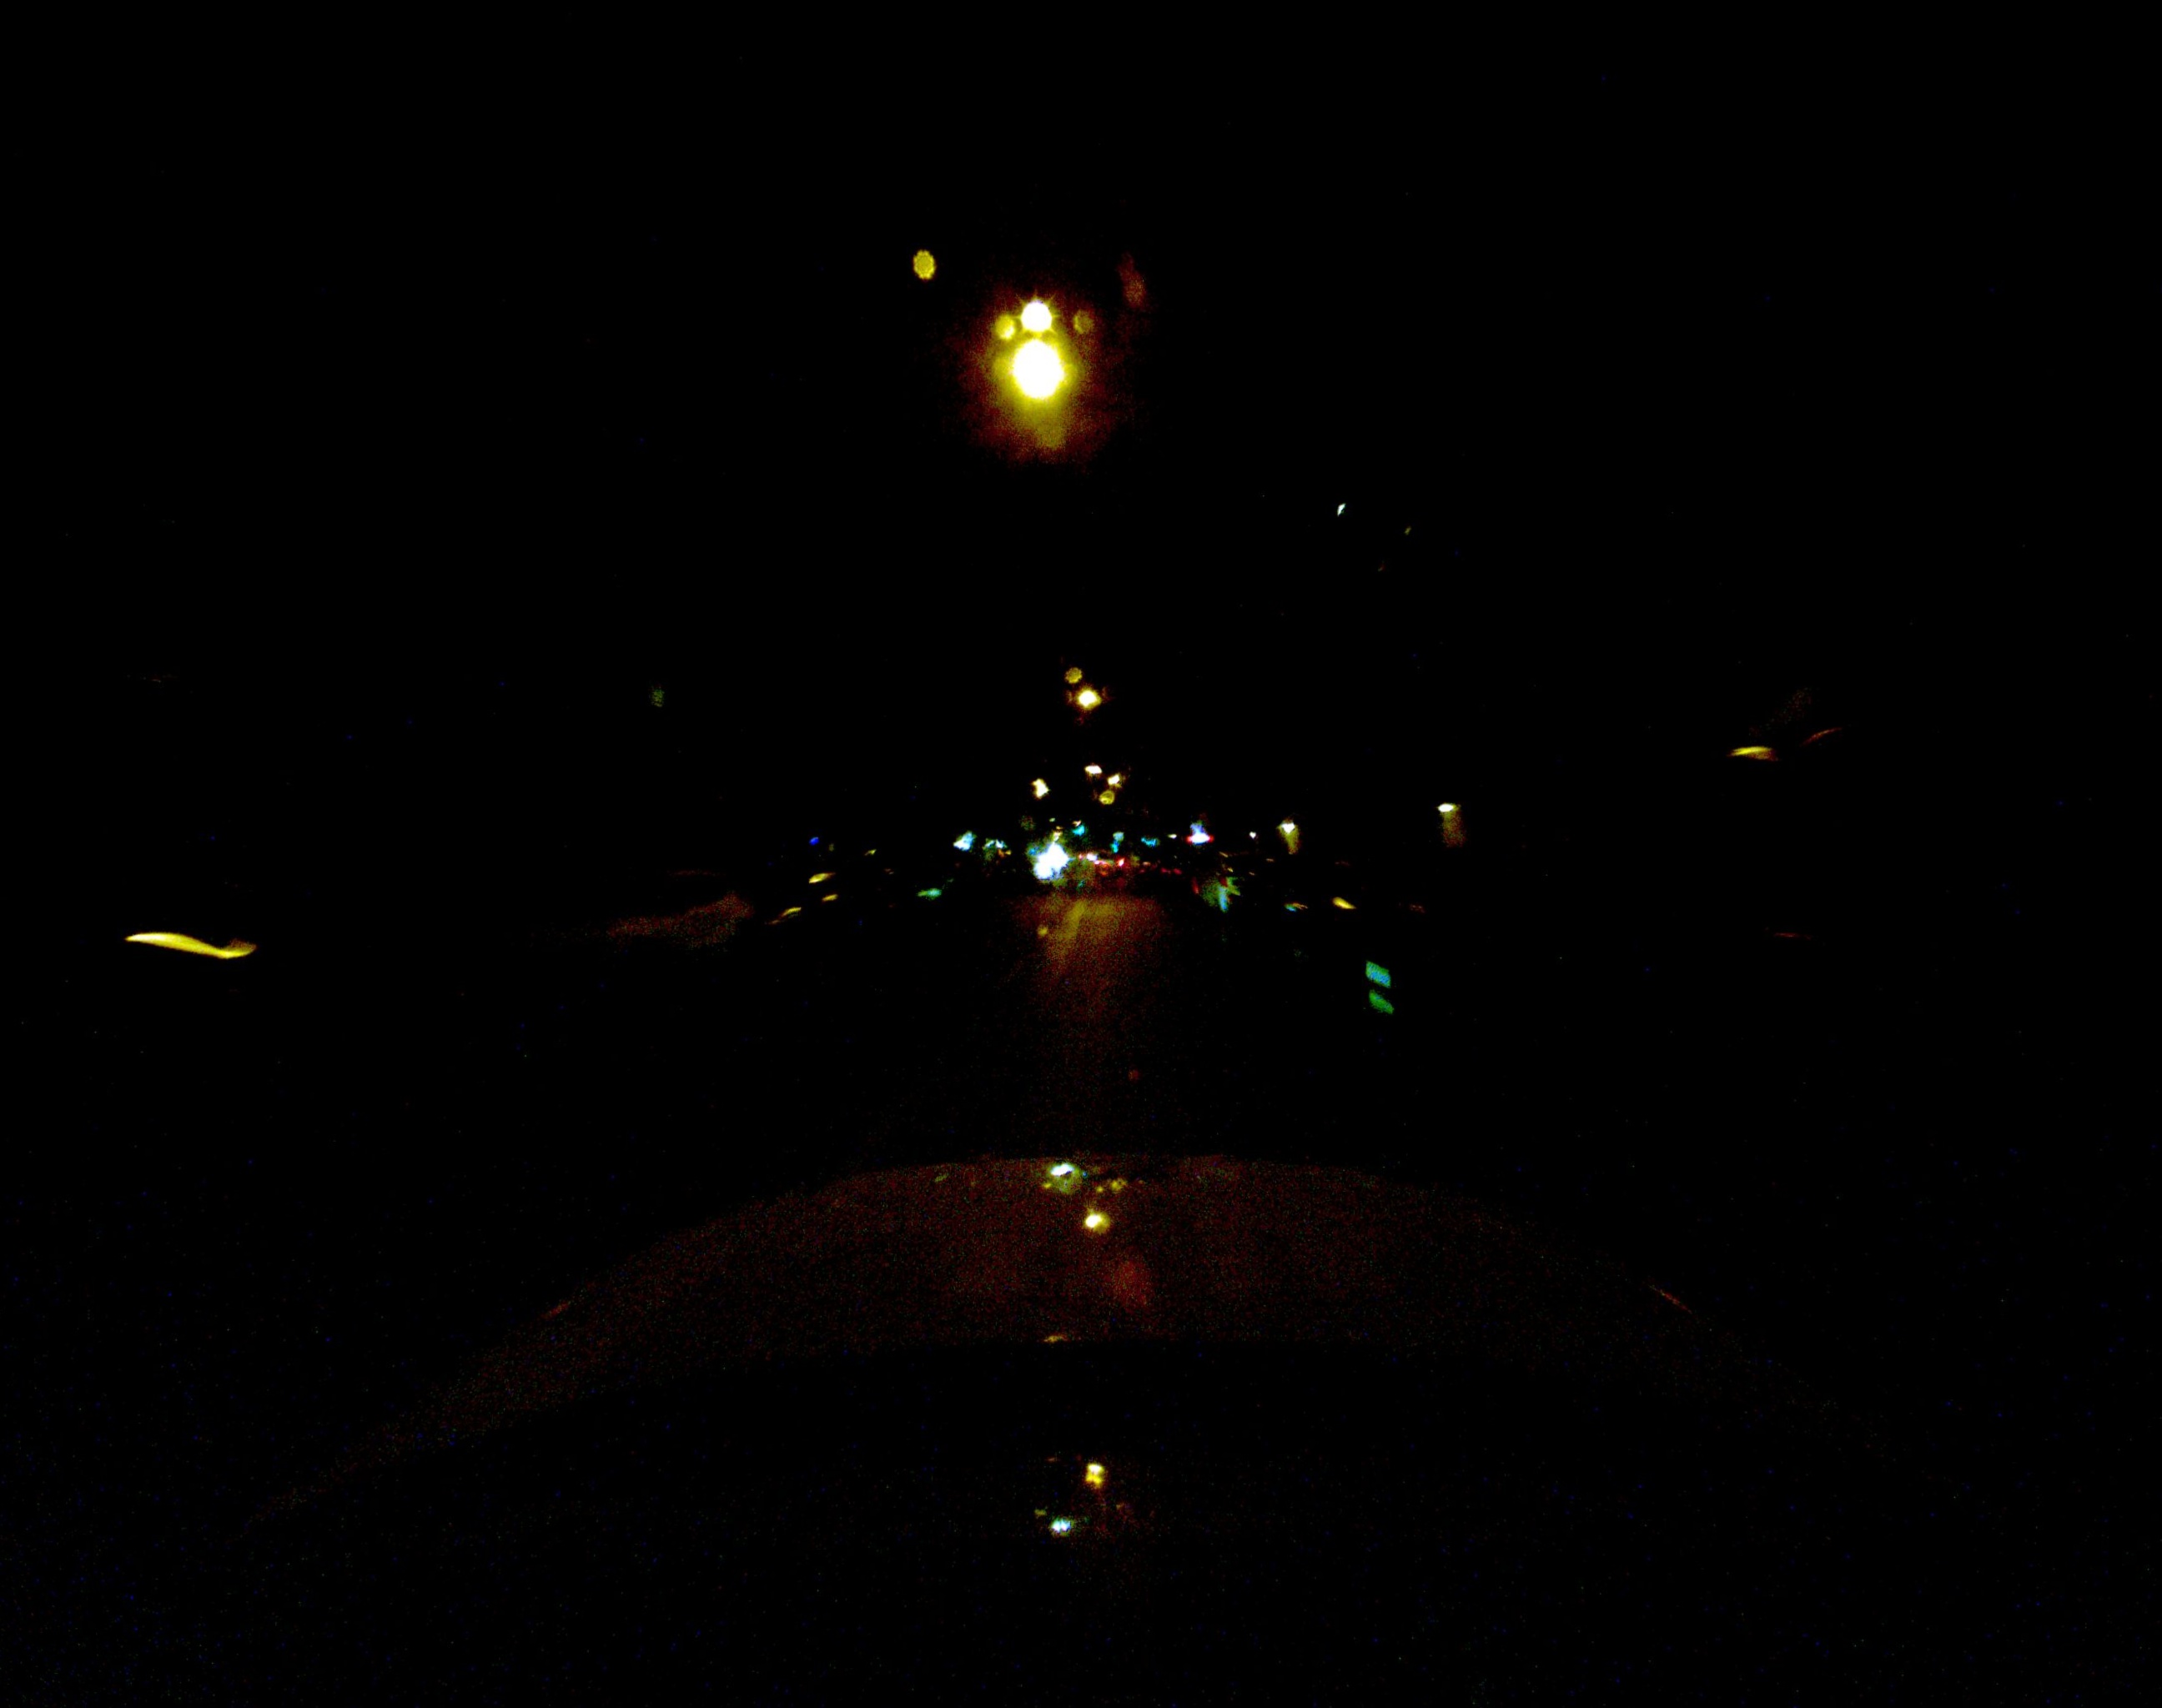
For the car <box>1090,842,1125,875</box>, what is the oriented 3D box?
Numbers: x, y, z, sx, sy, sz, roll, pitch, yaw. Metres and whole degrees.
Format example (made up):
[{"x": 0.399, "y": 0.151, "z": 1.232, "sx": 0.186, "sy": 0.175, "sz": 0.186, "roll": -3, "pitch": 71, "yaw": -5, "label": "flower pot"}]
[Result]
[{"x": 1.814, "y": 0.285, "z": 55.662, "sx": 2.160, "sy": 1.972, "sz": 4.303, "roll": -4, "pitch": 0, "yaw": 1, "label": "car"}]

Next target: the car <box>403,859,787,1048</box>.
[{"x": -5.358, "y": 0.945, "z": 9.827, "sx": 1.659, "sy": 1.539, "sz": 4.394, "roll": -6, "pitch": 0, "yaw": 3, "label": "car"}]

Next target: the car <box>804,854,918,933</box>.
[{"x": -5.395, "y": 0.894, "z": 20.581, "sx": 1.743, "sy": 1.597, "sz": 4.386, "roll": -6, "pitch": 0, "yaw": -3, "label": "car"}]

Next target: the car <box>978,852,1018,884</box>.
[{"x": -4.442, "y": 0.717, "z": 43.900, "sx": 1.593, "sy": 1.431, "sz": 4.004, "roll": -6, "pitch": 0, "yaw": 0, "label": "car"}]

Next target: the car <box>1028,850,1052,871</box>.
[{"x": -3.492, "y": 0.568, "z": 69.985, "sx": 1.592, "sy": 1.563, "sz": 4.382, "roll": -6, "pitch": 0, "yaw": 2, "label": "car"}]

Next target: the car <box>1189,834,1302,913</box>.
[{"x": 3.669, "y": 0.387, "z": 18.909, "sx": 1.669, "sy": 1.487, "sz": 4.279, "roll": -4, "pitch": 0, "yaw": 0, "label": "car"}]

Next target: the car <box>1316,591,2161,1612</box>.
[{"x": 2.860, "y": 0.420, "z": 3.392, "sx": 1.790, "sy": 1.950, "sz": 5.850, "roll": -4, "pitch": 0, "yaw": -2, "label": "car"}]

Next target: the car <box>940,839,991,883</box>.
[{"x": -4.782, "y": 0.272, "z": 34.152, "sx": 1.469, "sy": 1.619, "sz": 3.373, "roll": -6, "pitch": 0, "yaw": 0, "label": "car"}]

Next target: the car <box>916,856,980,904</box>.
[{"x": -4.702, "y": 0.887, "z": 29.247, "sx": 1.426, "sy": 1.460, "sz": 3.377, "roll": -6, "pitch": 0, "yaw": 3, "label": "car"}]

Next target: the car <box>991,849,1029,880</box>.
[{"x": -4.184, "y": 0.585, "z": 48.523, "sx": 1.592, "sy": 1.605, "sz": 4.260, "roll": -6, "pitch": 0, "yaw": 2, "label": "car"}]

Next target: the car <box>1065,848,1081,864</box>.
[{"x": -1.135, "y": 0.194, "z": 115.116, "sx": 2.029, "sy": 1.953, "sz": 5.196, "roll": -5, "pitch": 1, "yaw": -2, "label": "car"}]

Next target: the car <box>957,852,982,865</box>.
[{"x": -15.016, "y": 0.592, "z": 109.882, "sx": 1.699, "sy": 1.431, "sz": 3.939, "roll": -3, "pitch": 0, "yaw": 21, "label": "car"}]

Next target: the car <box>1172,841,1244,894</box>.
[{"x": 3.590, "y": 0.343, "z": 23.557, "sx": 1.451, "sy": 1.306, "sz": 3.628, "roll": -4, "pitch": 0, "yaw": 0, "label": "car"}]

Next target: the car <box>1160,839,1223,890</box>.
[{"x": 3.876, "y": 0.329, "z": 29.341, "sx": 1.747, "sy": 1.547, "sz": 4.982, "roll": -4, "pitch": 0, "yaw": 3, "label": "car"}]

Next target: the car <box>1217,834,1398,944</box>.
[{"x": 3.592, "y": 0.484, "z": 13.769, "sx": 1.789, "sy": 1.447, "sz": 4.279, "roll": -4, "pitch": 0, "yaw": 0, "label": "car"}]

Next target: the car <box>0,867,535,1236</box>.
[{"x": -5.610, "y": 0.955, "z": 4.843, "sx": 1.660, "sy": 1.539, "sz": 4.390, "roll": -4, "pitch": 0, "yaw": 0, "label": "car"}]

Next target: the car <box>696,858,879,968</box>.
[{"x": -5.233, "y": 0.944, "z": 15.197, "sx": 1.660, "sy": 1.539, "sz": 4.390, "roll": -6, "pitch": 0, "yaw": 0, "label": "car"}]

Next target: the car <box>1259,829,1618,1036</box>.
[{"x": 3.276, "y": 0.604, "z": 8.485, "sx": 1.790, "sy": 1.491, "sz": 4.127, "roll": -4, "pitch": 0, "yaw": -1, "label": "car"}]

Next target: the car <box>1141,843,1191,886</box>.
[{"x": 3.498, "y": 0.400, "z": 34.250, "sx": 1.816, "sy": 1.547, "sz": 4.357, "roll": -4, "pitch": 0, "yaw": 4, "label": "car"}]

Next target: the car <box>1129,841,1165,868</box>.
[{"x": 3.988, "y": 0.028, "z": 49.938, "sx": 1.816, "sy": 1.421, "sz": 4.489, "roll": -4, "pitch": 0, "yaw": 1, "label": "car"}]
